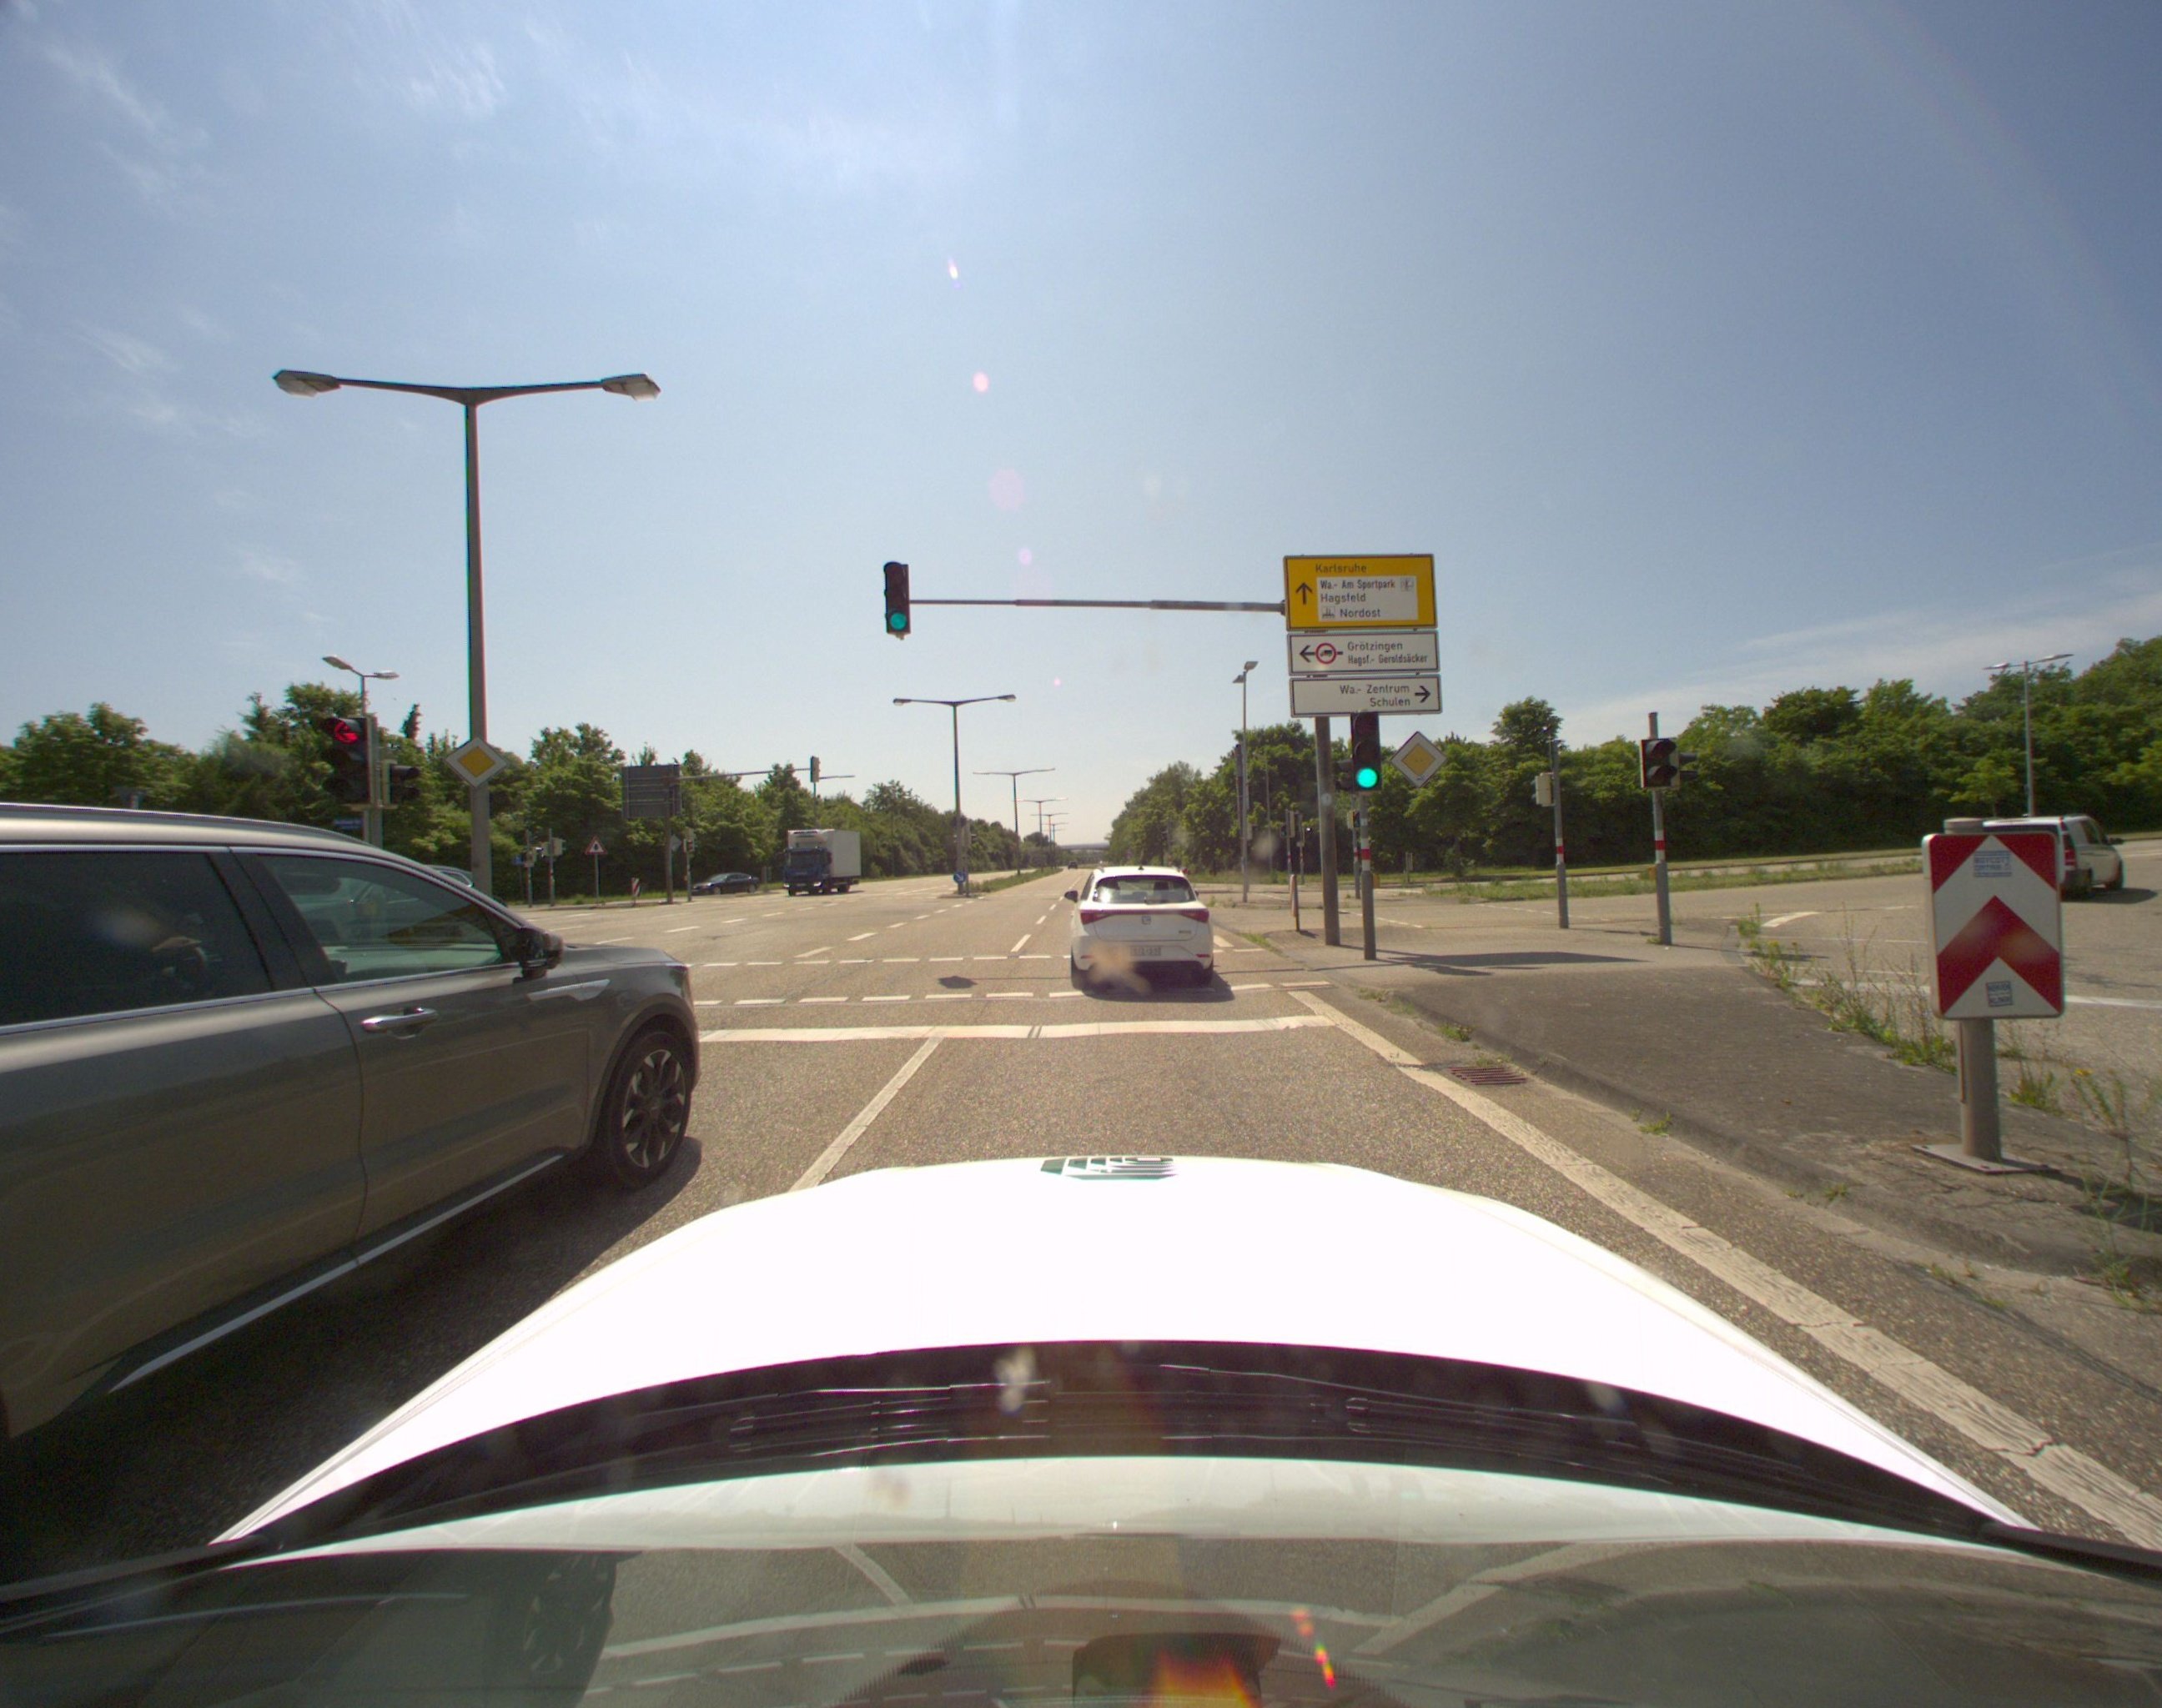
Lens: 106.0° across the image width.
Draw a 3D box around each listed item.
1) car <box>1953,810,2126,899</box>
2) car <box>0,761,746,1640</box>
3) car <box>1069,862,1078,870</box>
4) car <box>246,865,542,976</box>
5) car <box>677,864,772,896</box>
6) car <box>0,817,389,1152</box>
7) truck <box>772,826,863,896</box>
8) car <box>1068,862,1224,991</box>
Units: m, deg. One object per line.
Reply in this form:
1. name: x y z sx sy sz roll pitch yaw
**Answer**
1. car: 22.921 -0.040 19.427 4.924 1.818 1.848 -3 0 -31
2. car: -2.937 0.691 2.454 1.797 1.662 4.645 -2 -1 1
3. car: -1.750 2.657 185.345 1.847 1.709 4.002 -3 0 2
4. car: -12.209 1.080 14.924 1.700 1.663 4.224 -2 0 2
5. car: -21.515 1.538 49.280 1.805 1.732 4.957 -2 -1 38
6. car: -6.760 0.736 4.758 1.726 1.826 4.320 -2 -1 -1
7. truck: -14.837 0.395 46.502 2.678 3.570 7.268 -1 0 1
8. car: 0.770 0.847 10.909 1.728 1.429 3.695 0 -1 1
